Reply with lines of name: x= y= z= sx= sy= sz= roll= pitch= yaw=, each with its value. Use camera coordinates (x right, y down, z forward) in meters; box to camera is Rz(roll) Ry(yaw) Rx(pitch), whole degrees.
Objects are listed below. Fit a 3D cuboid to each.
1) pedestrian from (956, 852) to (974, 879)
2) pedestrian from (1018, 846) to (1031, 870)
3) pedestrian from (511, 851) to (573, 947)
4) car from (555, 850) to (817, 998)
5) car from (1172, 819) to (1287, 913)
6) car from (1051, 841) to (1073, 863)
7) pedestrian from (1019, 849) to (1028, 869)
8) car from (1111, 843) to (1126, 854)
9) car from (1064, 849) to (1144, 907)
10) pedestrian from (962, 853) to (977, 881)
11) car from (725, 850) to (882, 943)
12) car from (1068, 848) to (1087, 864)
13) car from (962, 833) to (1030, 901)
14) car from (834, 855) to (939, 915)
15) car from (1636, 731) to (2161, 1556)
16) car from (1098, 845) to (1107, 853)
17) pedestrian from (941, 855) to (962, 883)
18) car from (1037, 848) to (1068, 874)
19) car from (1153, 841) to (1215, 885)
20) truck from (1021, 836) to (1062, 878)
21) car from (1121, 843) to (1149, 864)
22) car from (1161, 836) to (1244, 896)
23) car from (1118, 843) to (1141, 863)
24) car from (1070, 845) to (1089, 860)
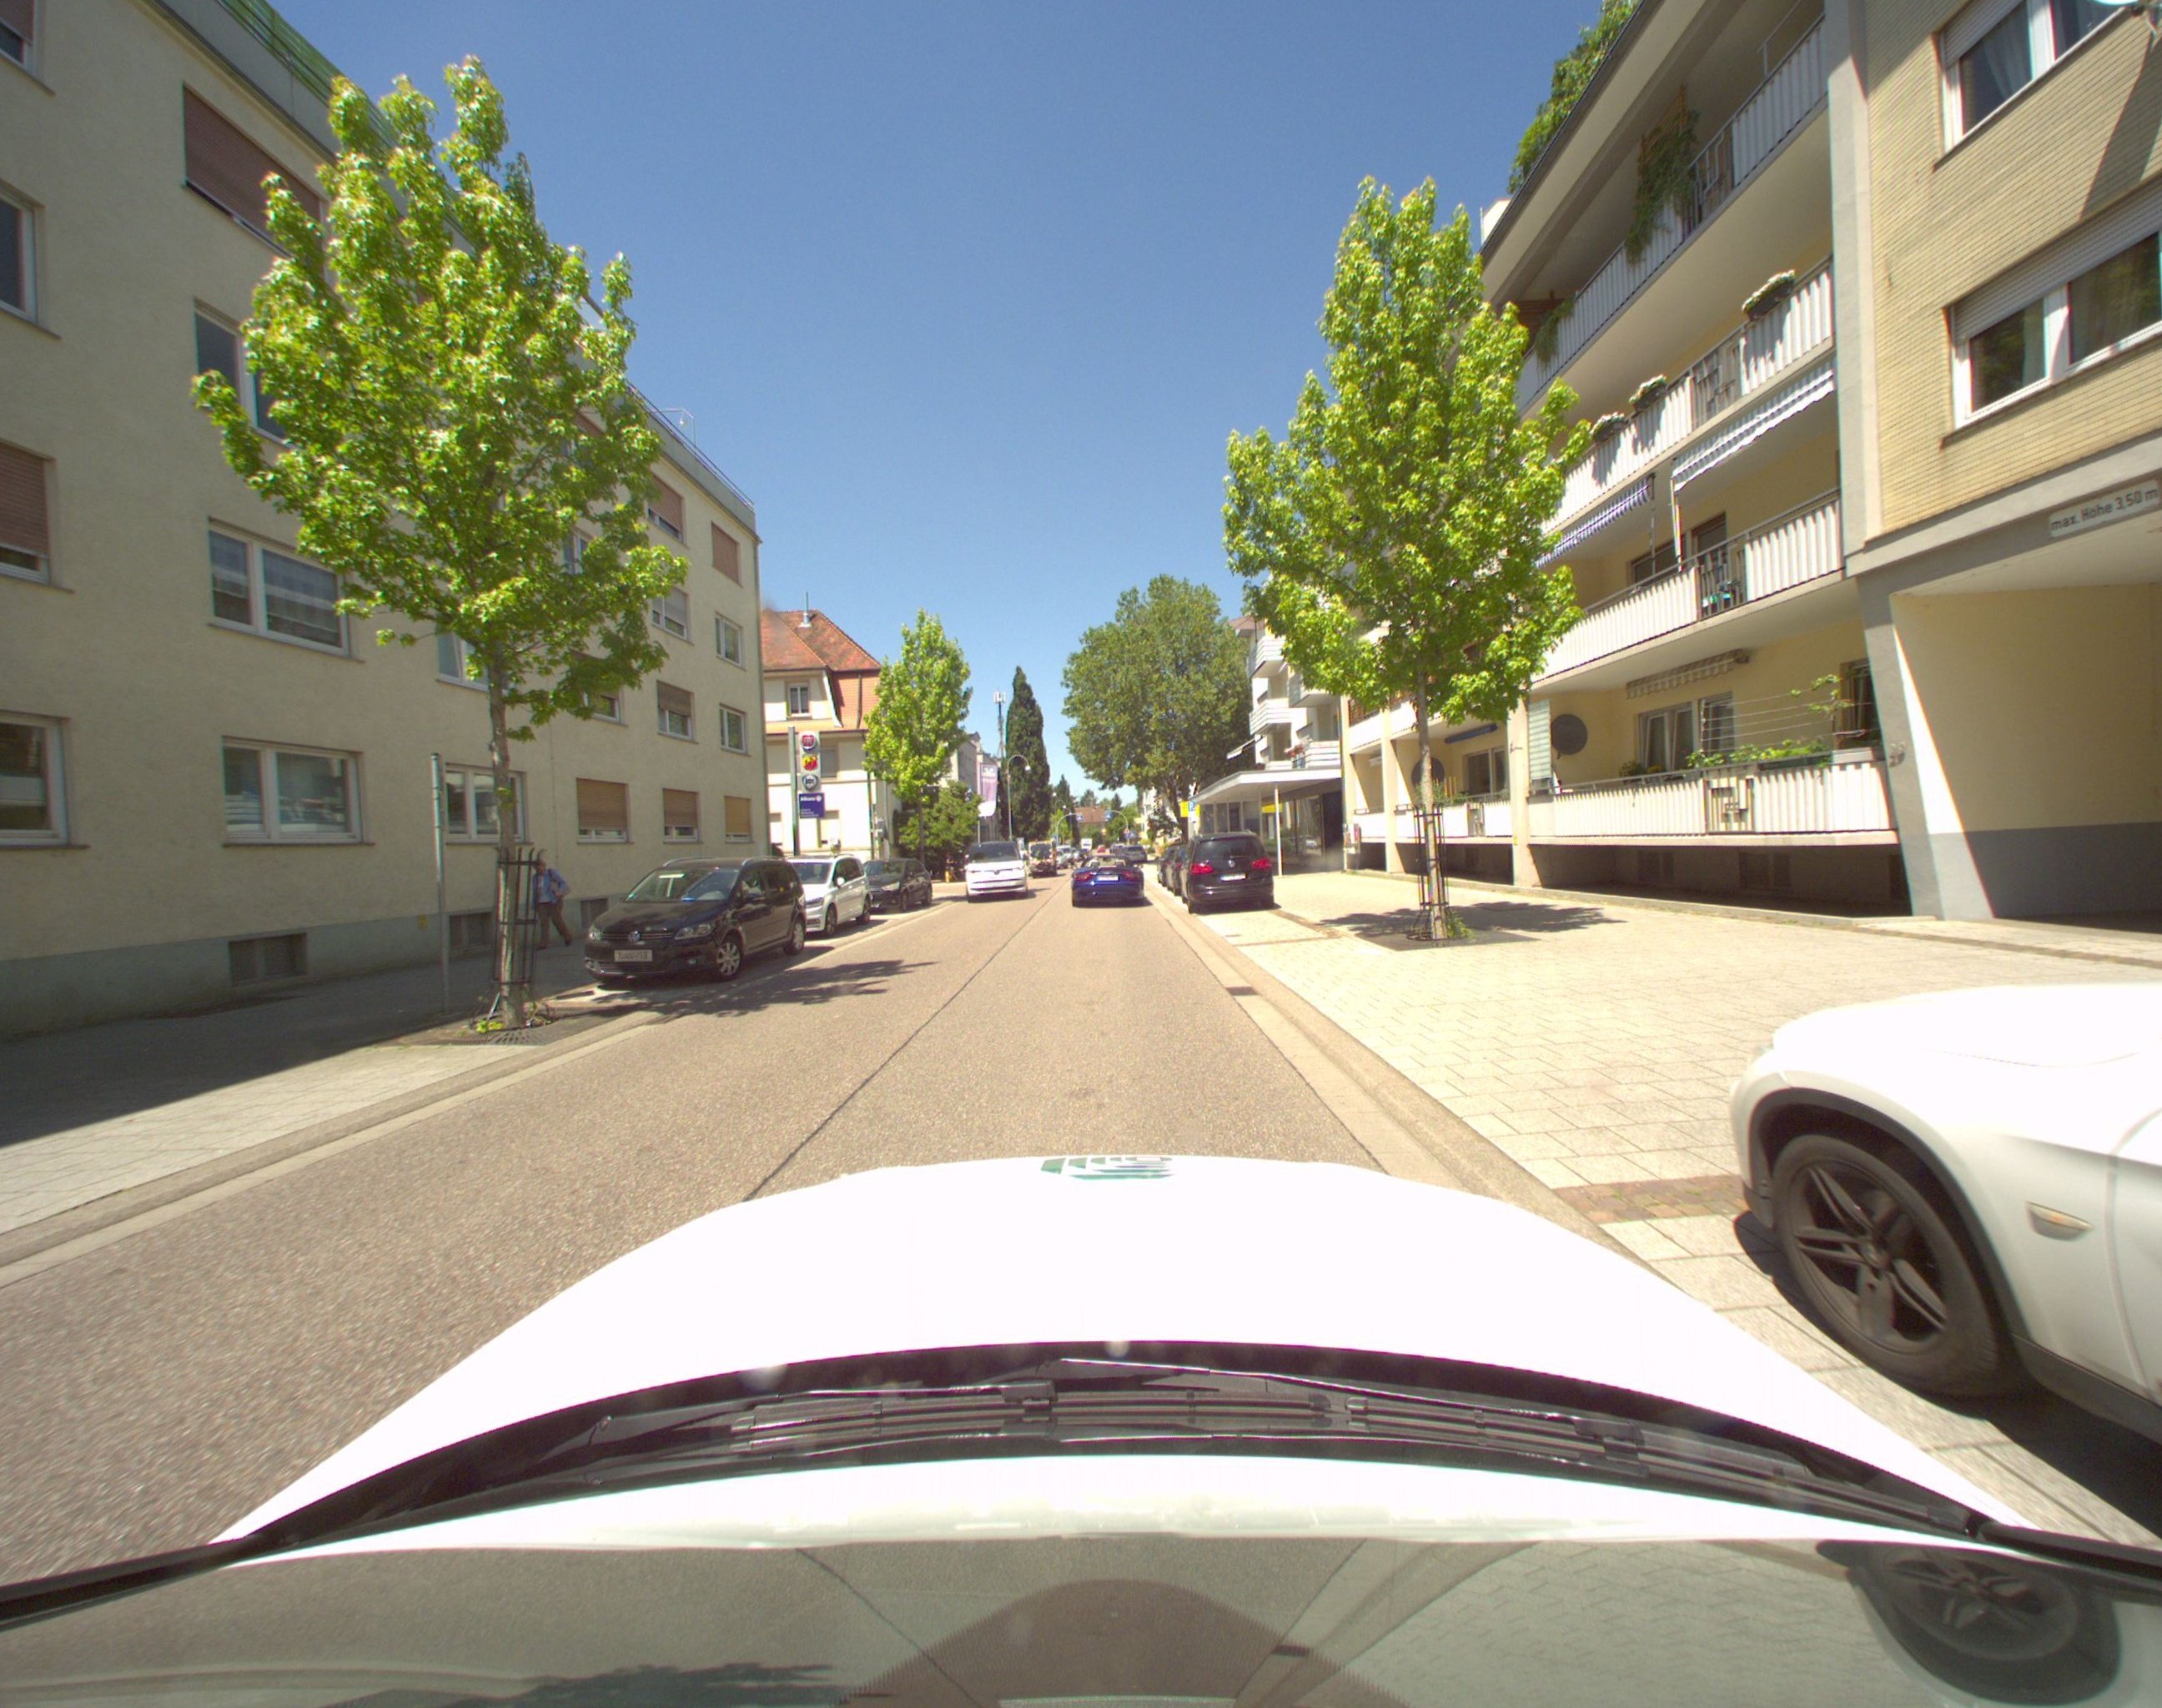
pedestrian: x=-6.181 y=0.615 z=43.447 sx=0.601 sy=1.371 sz=0.686 roll=-7 pitch=3 yaw=-40
pedestrian: x=-4.649 y=0.322 z=66.789 sx=0.846 sy=1.915 sz=0.762 roll=-4 pitch=3 yaw=2
pedestrian: x=-10.011 y=0.812 z=15.146 sx=0.657 sy=1.680 sz=0.628 roll=-5 pitch=3 yaw=-16
car: x=-5.513 y=0.837 z=12.106 sx=1.723 sy=1.740 sz=4.392 roll=0 pitch=1 yaw=0
car: x=3.306 y=0.160 z=19.058 sx=1.985 sy=1.798 sz=4.574 roll=-4 pitch=2 yaw=3
car: x=-1.723 y=-0.223 z=73.713 sx=1.764 sy=1.767 sz=4.137 roll=-4 pitch=1 yaw=0
pedestrian: x=-4.705 y=0.392 z=66.740 sx=0.585 sy=1.574 sz=0.781 roll=-3 pitch=0 yaw=0
car: x=5.596 y=-0.900 z=122.512 sx=1.944 sy=1.476 sz=4.138 roll=-4 pitch=1 yaw=1
car: x=0.574 y=0.587 z=22.572 sx=1.970 sy=1.398 sz=4.627 roll=-1 pitch=0 yaw=0
pedestrian: x=-5.751 y=0.673 z=41.919 sx=0.597 sy=1.370 sz=0.692 roll=-6 pitch=3 yaw=-13
car: x=-5.756 y=0.788 z=17.537 sx=1.818 sy=1.619 sz=4.392 roll=-2 pitch=1 yaw=0
car: x=-0.350 y=0.152 z=84.661 sx=1.763 sy=1.476 sz=4.138 roll=-4 pitch=1 yaw=1
car: x=-2.734 y=0.389 z=27.186 sx=1.903 sy=1.922 sz=4.899 roll=-4 pitch=0 yaw=-4
car: x=-5.533 y=0.830 z=23.742 sx=1.746 sy=1.474 sz=4.326 roll=-2 pitch=1 yaw=4
car: x=2.843 y=0.505 z=0.855 sx=1.715 sy=1.583 sz=4.228 roll=-4 pitch=0 yaw=3
car: x=4.326 y=-0.983 z=166.707 sx=1.763 sy=1.476 sz=4.138 roll=-3 pitch=0 yaw=1
pedestrian: x=-6.760 y=0.771 z=42.549 sx=0.775 sy=1.370 sz=0.544 roll=-8 pitch=4 yaw=-39
car: x=-2.049 y=0.503 z=60.637 sx=1.942 sy=1.508 sz=4.799 roll=-4 pitch=3 yaw=1
car: x=3.792 y=0.298 z=30.622 sx=1.838 sy=1.414 sz=4.164 roll=-4 pitch=0 yaw=2
truck: x=-2.149 y=0.129 z=45.805 sx=1.798 sy=2.117 sz=4.717 roll=-4 pitch=1 yaw=1
car: x=4.278 y=-0.079 z=65.563 sx=1.969 sy=1.450 sz=4.351 roll=-5 pitch=1 yaw=2
car: x=3.610 y=0.318 z=24.988 sx=1.887 sy=1.530 sz=4.571 roll=-4 pitch=0 yaw=2
car: x=4.571 y=-0.119 z=77.810 sx=1.969 sy=1.556 sz=4.351 roll=-5 pitch=1 yaw=2
car: x=-0.126 y=-0.157 z=90.554 sx=1.944 sy=1.476 sz=4.138 roll=-4 pitch=1 yaw=1
